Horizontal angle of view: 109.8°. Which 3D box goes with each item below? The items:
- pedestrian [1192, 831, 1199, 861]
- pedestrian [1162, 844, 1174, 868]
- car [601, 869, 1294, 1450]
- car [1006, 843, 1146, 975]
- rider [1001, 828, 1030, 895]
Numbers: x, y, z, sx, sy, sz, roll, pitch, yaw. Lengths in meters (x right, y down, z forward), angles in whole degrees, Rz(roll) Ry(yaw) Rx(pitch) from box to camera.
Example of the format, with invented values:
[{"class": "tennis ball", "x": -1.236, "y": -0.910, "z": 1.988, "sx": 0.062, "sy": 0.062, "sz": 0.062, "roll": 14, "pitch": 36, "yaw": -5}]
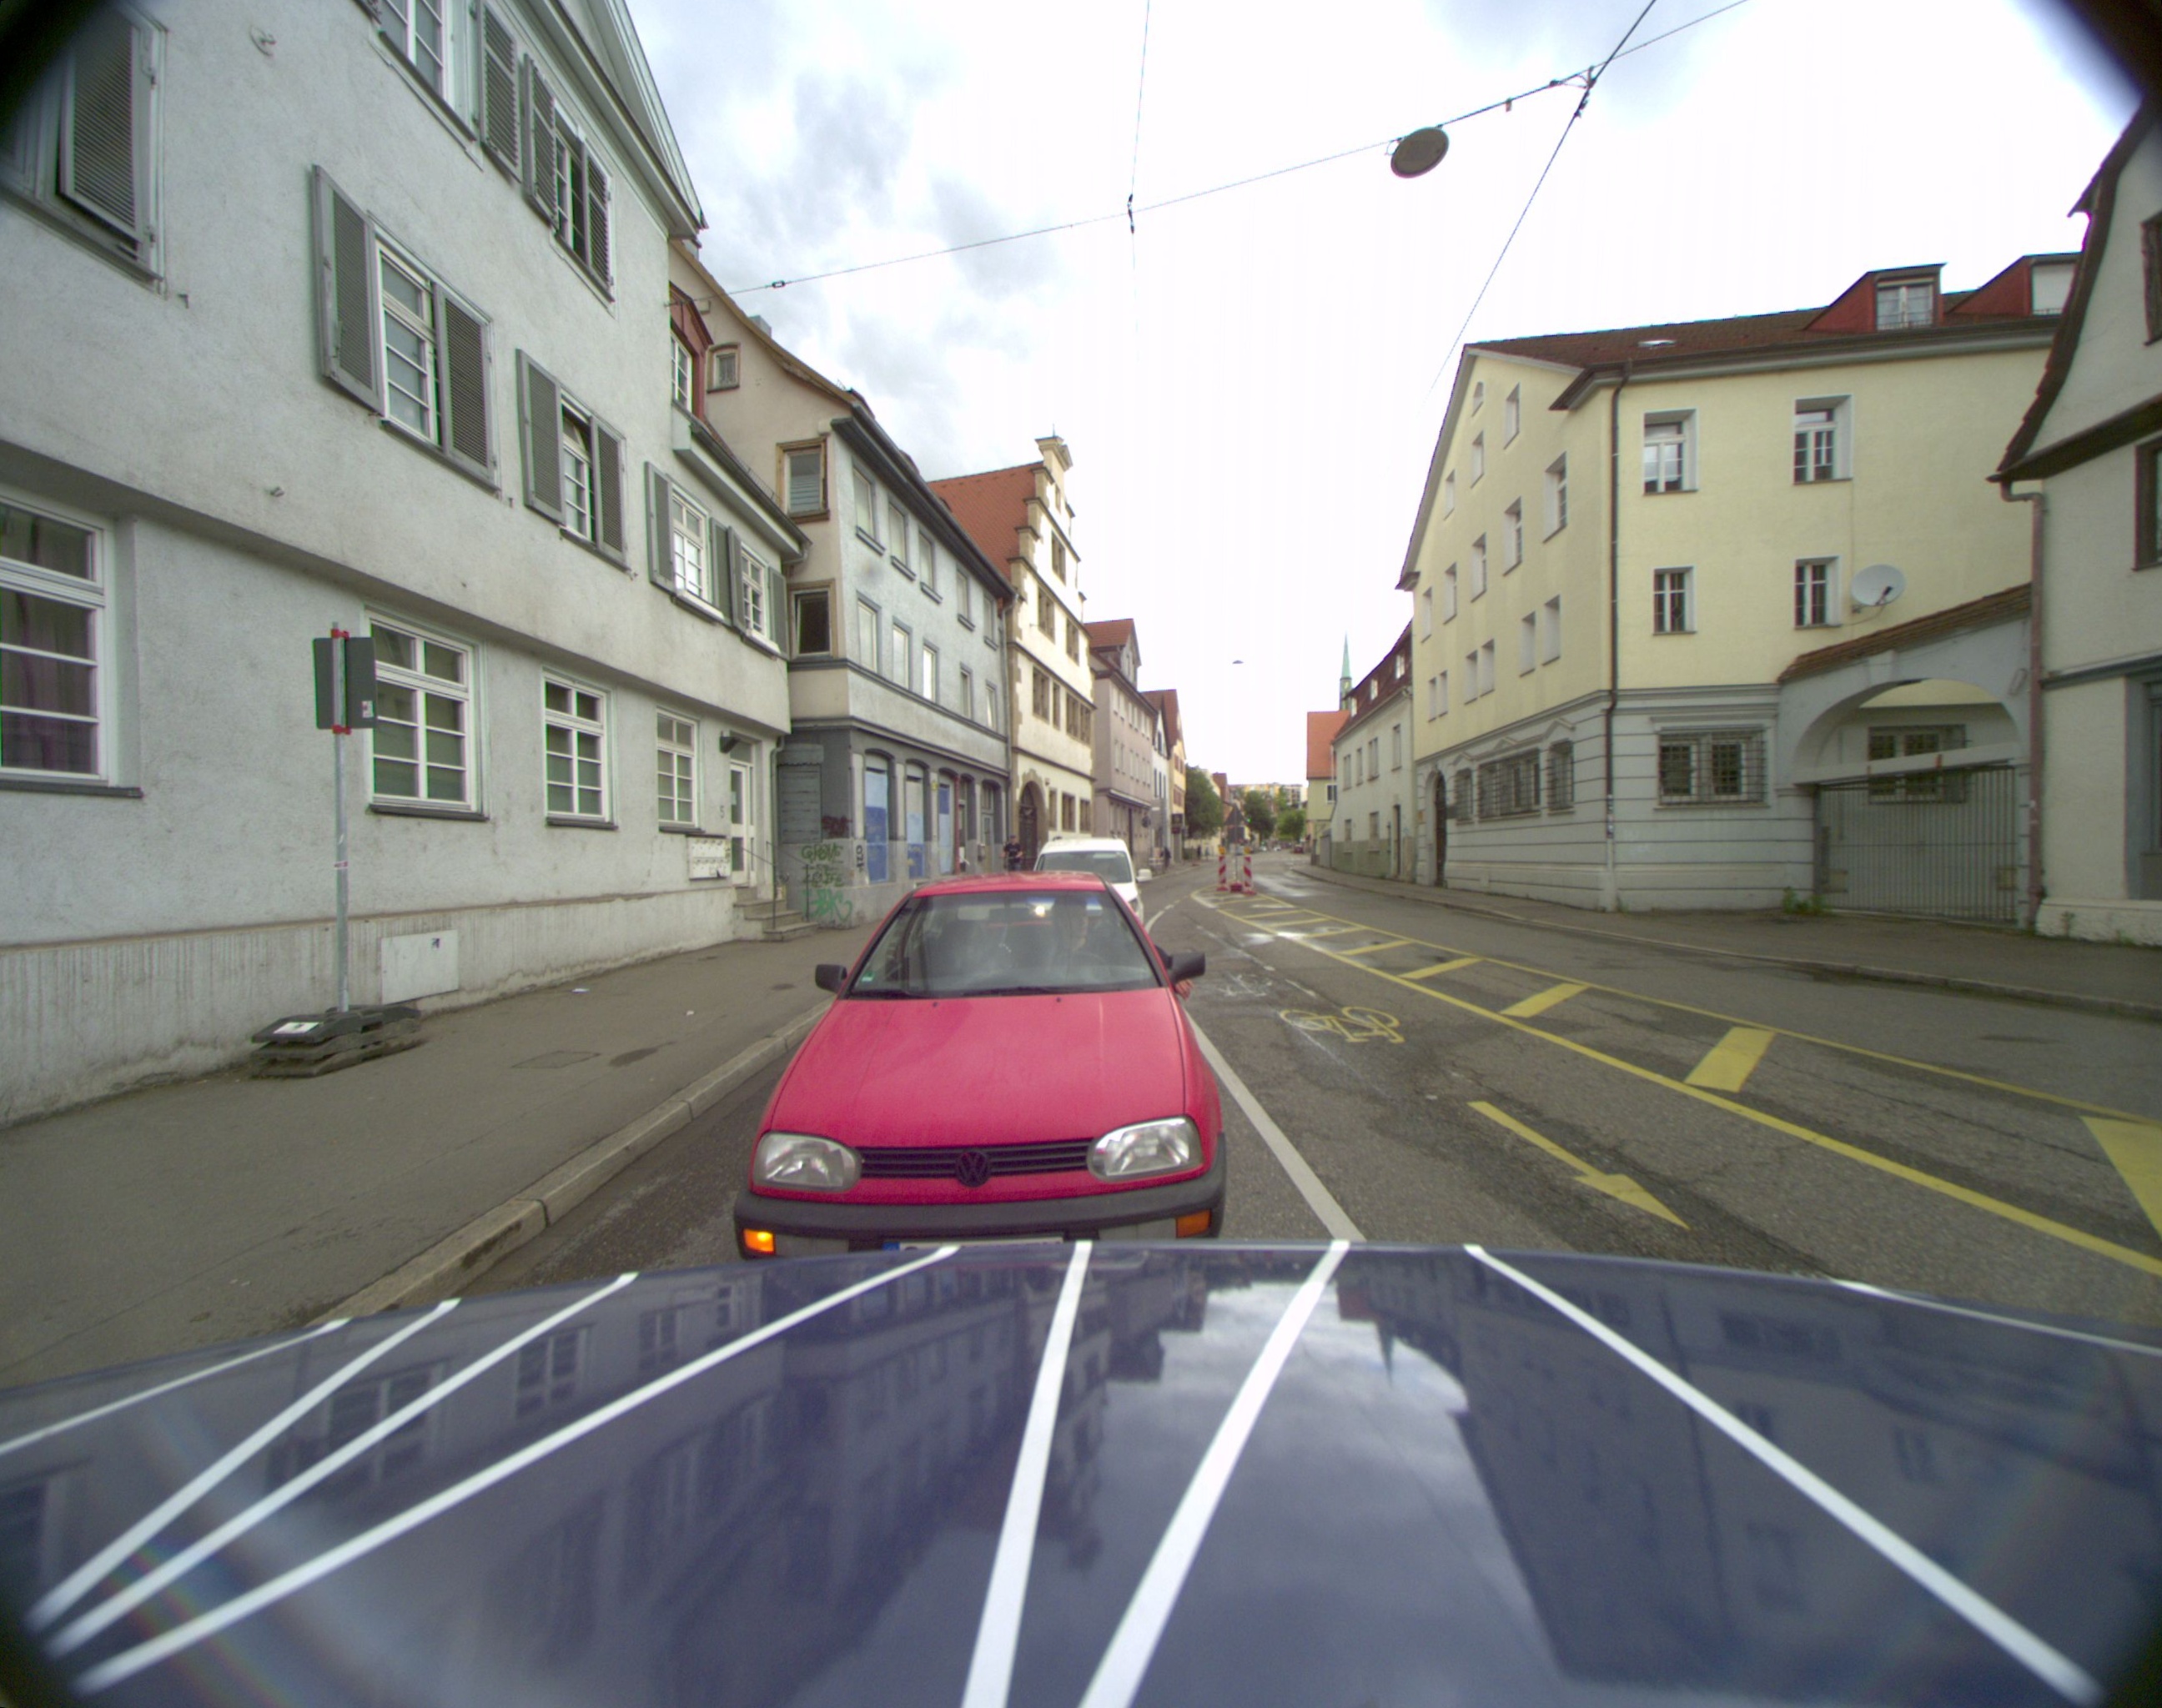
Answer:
[{"class": "pedestrian", "x": 9.580, "y": -0.654, "z": 63.586, "sx": 0.495, "sy": 2.513, "sz": 0.746, "roll": -1, "pitch": 1, "yaw": 12}, {"class": "pedestrian", "x": 5.916, "y": 0.149, "z": 51.651, "sx": 0.725, "sy": 1.604, "sz": 0.649, "roll": 0, "pitch": 1, "yaw": 13}, {"class": "car", "x": -0.298, "y": 0.857, "z": 4.002, "sx": 1.792, "sy": 1.417, "sz": 4.000, "roll": -2, "pitch": 0, "yaw": 2}, {"class": "car", "x": 0.021, "y": 0.695, "z": 12.164, "sx": 1.814, "sy": 1.695, "sz": 4.256, "roll": -1, "pitch": 1, "yaw": 2}, {"class": "rider", "x": -1.812, "y": 0.206, "z": 21.148, "sx": 0.719, "sy": 1.837, "sz": 0.797, "roll": -1, "pitch": 1, "yaw": 1}]
